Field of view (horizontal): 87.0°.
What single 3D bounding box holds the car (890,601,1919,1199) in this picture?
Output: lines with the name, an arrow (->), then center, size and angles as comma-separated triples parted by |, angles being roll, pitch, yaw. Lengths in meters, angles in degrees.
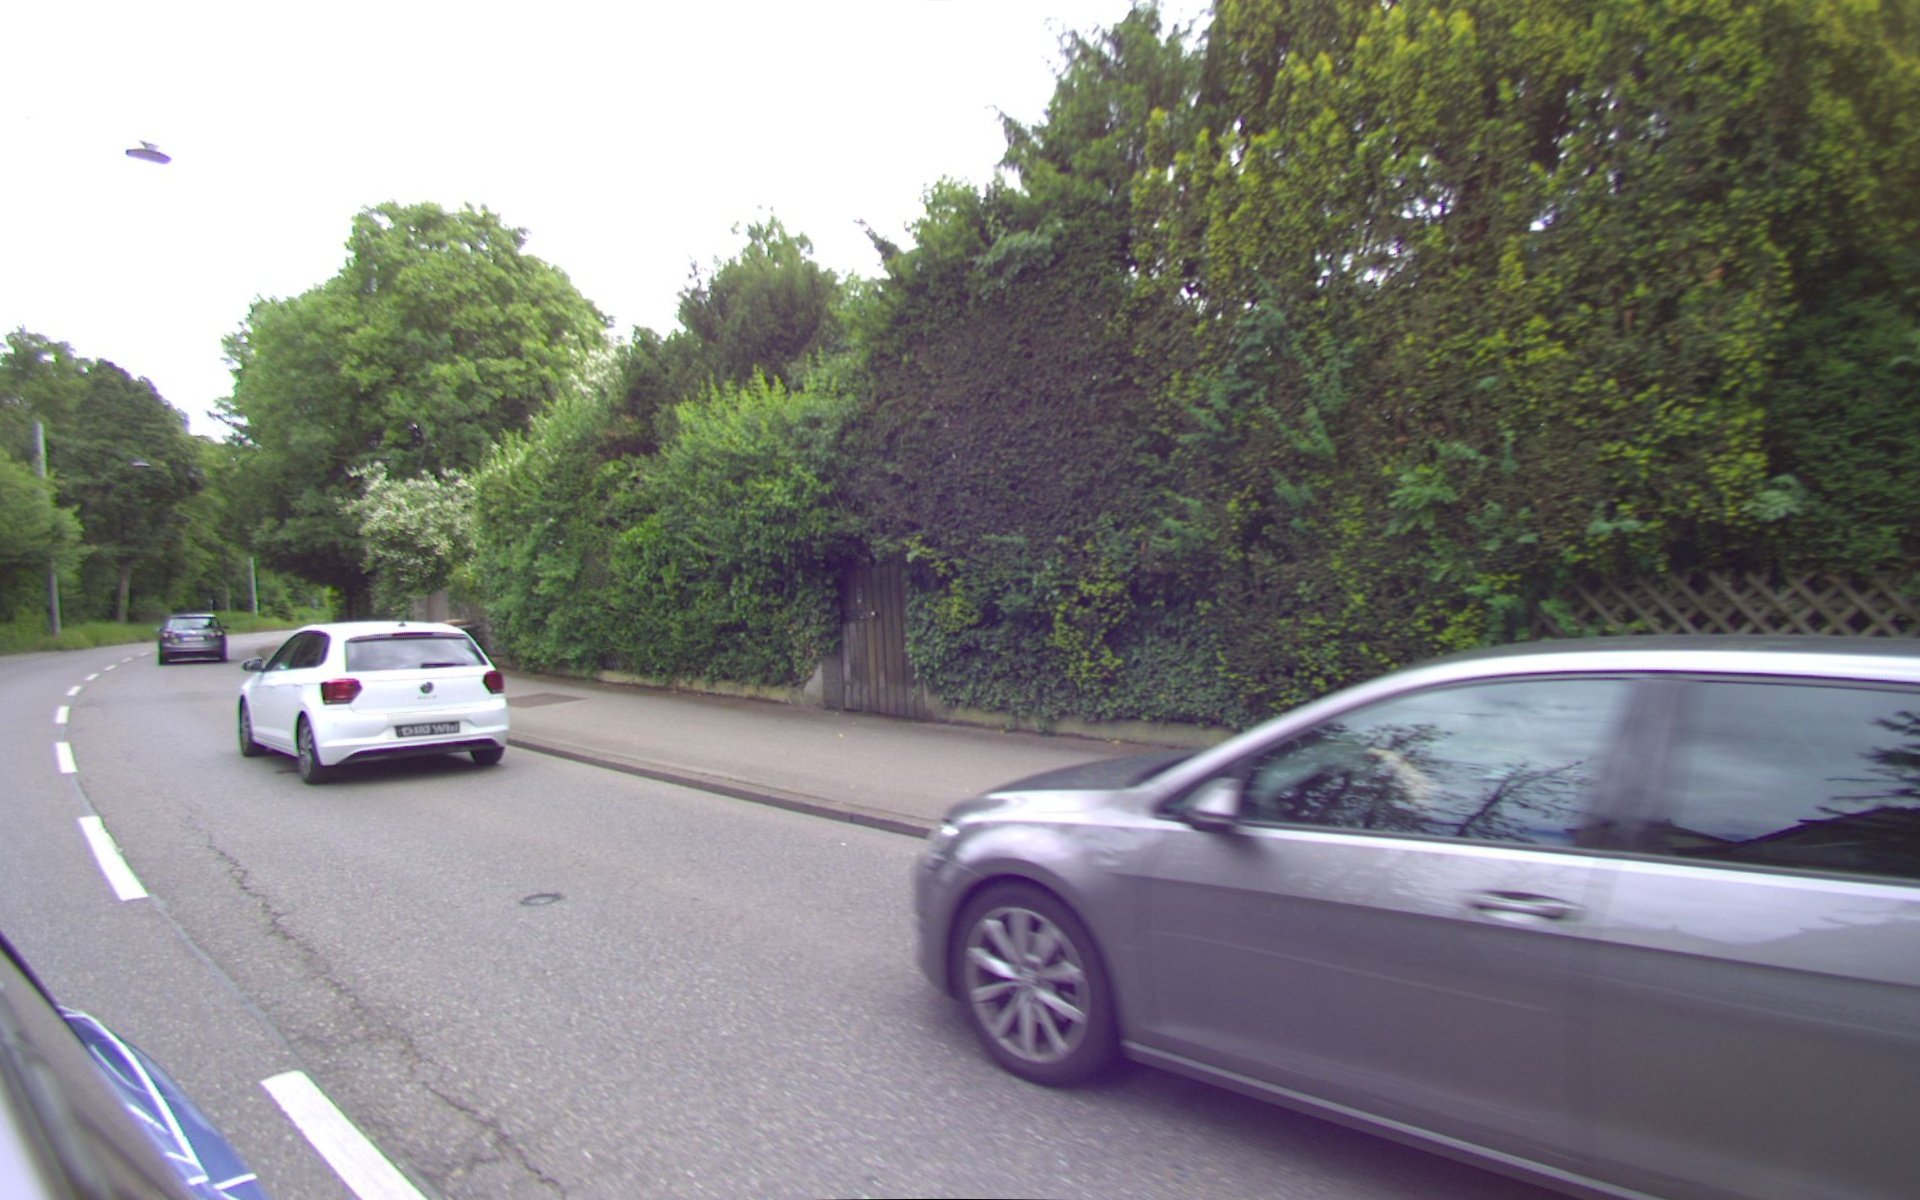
car -> 1.888, 0.720, 2.852 | 3.904, 1.409, 1.895 | -2, -1, 38

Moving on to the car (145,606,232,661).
car -> -24.671, 1.026, 32.494 | 1.966, 1.630, 4.011 | 1, -1, -34

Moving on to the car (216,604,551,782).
car -> -6.002, 0.837, 10.373 | 3.795, 1.465, 1.882 | -2, -3, 42

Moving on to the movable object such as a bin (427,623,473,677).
movable object such as a bin -> -11.416, 1.107, 22.645 | 0.732, 1.150, 0.647 | -4, 1, -41

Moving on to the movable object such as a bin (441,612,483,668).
movable object such as a bin -> -10.890, 0.861, 22.128 | 0.621, 1.153, 0.647 | -4, 1, -41
